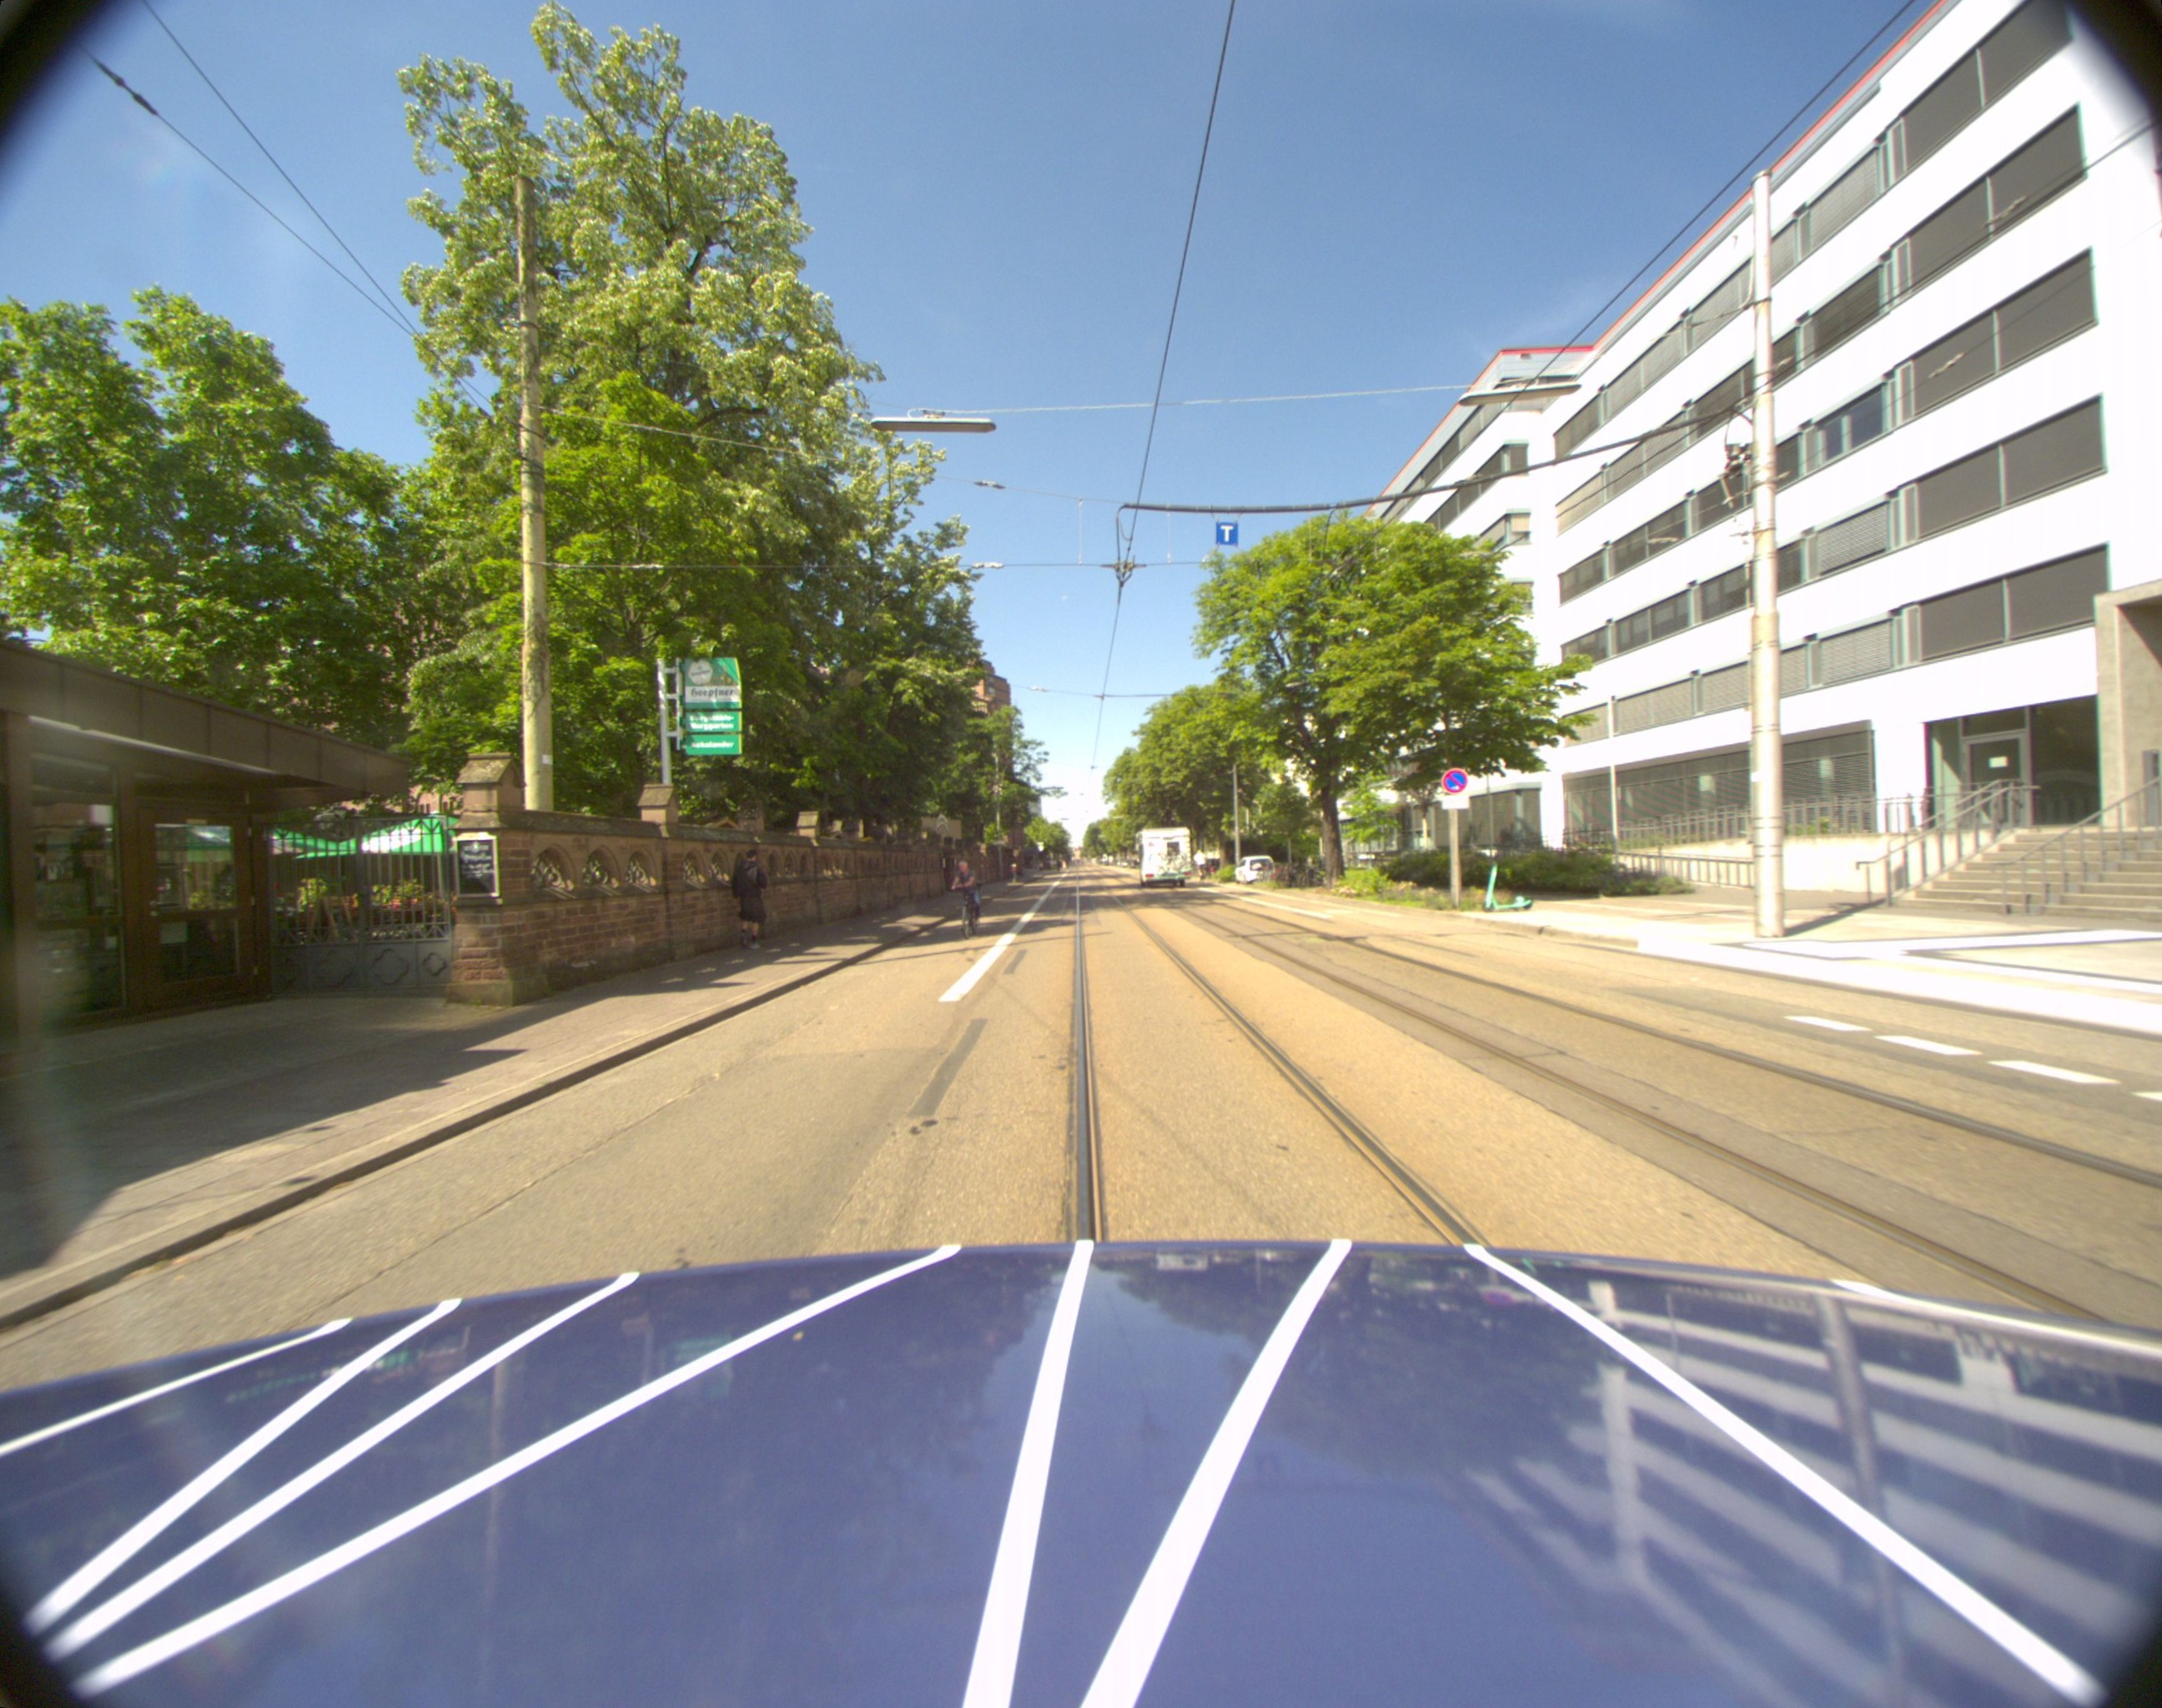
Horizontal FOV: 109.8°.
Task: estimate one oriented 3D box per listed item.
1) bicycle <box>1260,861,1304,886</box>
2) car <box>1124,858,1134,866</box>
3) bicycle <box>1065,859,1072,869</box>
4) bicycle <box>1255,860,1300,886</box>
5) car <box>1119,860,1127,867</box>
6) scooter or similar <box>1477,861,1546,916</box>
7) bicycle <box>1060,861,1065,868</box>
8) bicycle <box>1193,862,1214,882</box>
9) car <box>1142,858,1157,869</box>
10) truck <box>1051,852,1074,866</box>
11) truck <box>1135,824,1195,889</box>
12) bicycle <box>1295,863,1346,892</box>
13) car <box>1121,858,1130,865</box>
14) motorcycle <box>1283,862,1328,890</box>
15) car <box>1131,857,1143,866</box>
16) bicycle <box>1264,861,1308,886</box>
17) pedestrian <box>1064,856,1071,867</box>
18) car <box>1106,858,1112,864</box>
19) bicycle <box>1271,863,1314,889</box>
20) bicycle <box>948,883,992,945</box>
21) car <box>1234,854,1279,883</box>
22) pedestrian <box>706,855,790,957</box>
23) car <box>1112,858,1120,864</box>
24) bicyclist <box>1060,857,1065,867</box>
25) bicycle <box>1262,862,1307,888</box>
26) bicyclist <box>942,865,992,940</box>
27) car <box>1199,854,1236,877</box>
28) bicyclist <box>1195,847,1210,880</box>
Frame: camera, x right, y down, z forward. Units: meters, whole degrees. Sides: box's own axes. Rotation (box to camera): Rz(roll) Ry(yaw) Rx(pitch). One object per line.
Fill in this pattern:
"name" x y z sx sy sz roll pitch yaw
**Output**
"bicycle" 9.530 0.924 36.124 1.877 1.135 0.686 -3 0 0
"car" 8.915 1.456 141.893 1.634 1.463 4.114 -3 0 1
"bicycle" -2.395 1.863 144.182 0.999 1.733 3.163 -4 0 1
"bicycle" 9.483 0.910 36.771 1.909 1.162 0.819 -3 0 0
"car" 9.221 2.017 166.811 1.634 1.463 4.114 -3 0 1
"scooter or similar" 9.698 0.773 17.144 1.128 1.159 0.676 -2 0 3
"bicycle" -2.778 1.564 116.035 0.593 1.099 2.054 -2 0 1
"bicycle" 7.150 1.019 44.379 0.858 1.103 2.139 -2 0 0
"car" 9.235 1.247 102.511 1.634 1.347 3.901 -3 0 -1
"truck" -5.275 1.504 221.900 2.816 3.836 10.016 -2 -1 23
"truck" 4.295 0.132 39.721 2.408 3.090 6.037 -2 0 0
"bicycle" 9.568 0.940 30.418 1.728 1.080 0.789 -3 0 0
"car" 9.004 1.500 154.166 1.634 1.463 4.114 -3 0 1
"motorcycle" 9.636 0.935 32.630 1.728 1.080 0.658 -3 0 0
"car" 9.064 1.234 124.011 1.634 1.463 4.114 -3 0 1
"bicycle" 9.410 0.899 34.916 1.797 1.080 0.726 -3 0 0
"pedestrian" -2.605 1.345 144.035 1.106 2.002 1.166 -4 0 0
"car" 8.382 2.165 228.716 1.634 1.560 4.114 -3 0 1
"bicycle" 9.461 0.963 34.030 1.728 1.080 0.639 -3 0 0
"bicycle" -2.480 1.310 17.175 0.611 1.190 2.123 -5 0 -1
"car" 9.451 0.751 41.059 1.634 1.463 3.631 -2 0 2
"pedestrian" -6.188 0.940 14.190 0.979 1.805 1.185 1 0 1
"car" 8.577 1.674 186.802 1.634 1.463 4.114 -3 0 1
"bicyclist" -2.850 1.239 116.009 0.742 1.521 0.947 -2 0 1
"bicycle" 9.480 0.970 35.446 1.853 1.125 0.680 -3 0 0
"bicyclist" -2.527 1.061 16.904 0.906 1.586 0.964 -3 0 0
"car" 9.530 0.764 53.286 1.634 1.474 4.272 -2 0 -2
"bicyclist" 7.109 0.563 44.500 0.637 1.860 1.024 -3 0 0
